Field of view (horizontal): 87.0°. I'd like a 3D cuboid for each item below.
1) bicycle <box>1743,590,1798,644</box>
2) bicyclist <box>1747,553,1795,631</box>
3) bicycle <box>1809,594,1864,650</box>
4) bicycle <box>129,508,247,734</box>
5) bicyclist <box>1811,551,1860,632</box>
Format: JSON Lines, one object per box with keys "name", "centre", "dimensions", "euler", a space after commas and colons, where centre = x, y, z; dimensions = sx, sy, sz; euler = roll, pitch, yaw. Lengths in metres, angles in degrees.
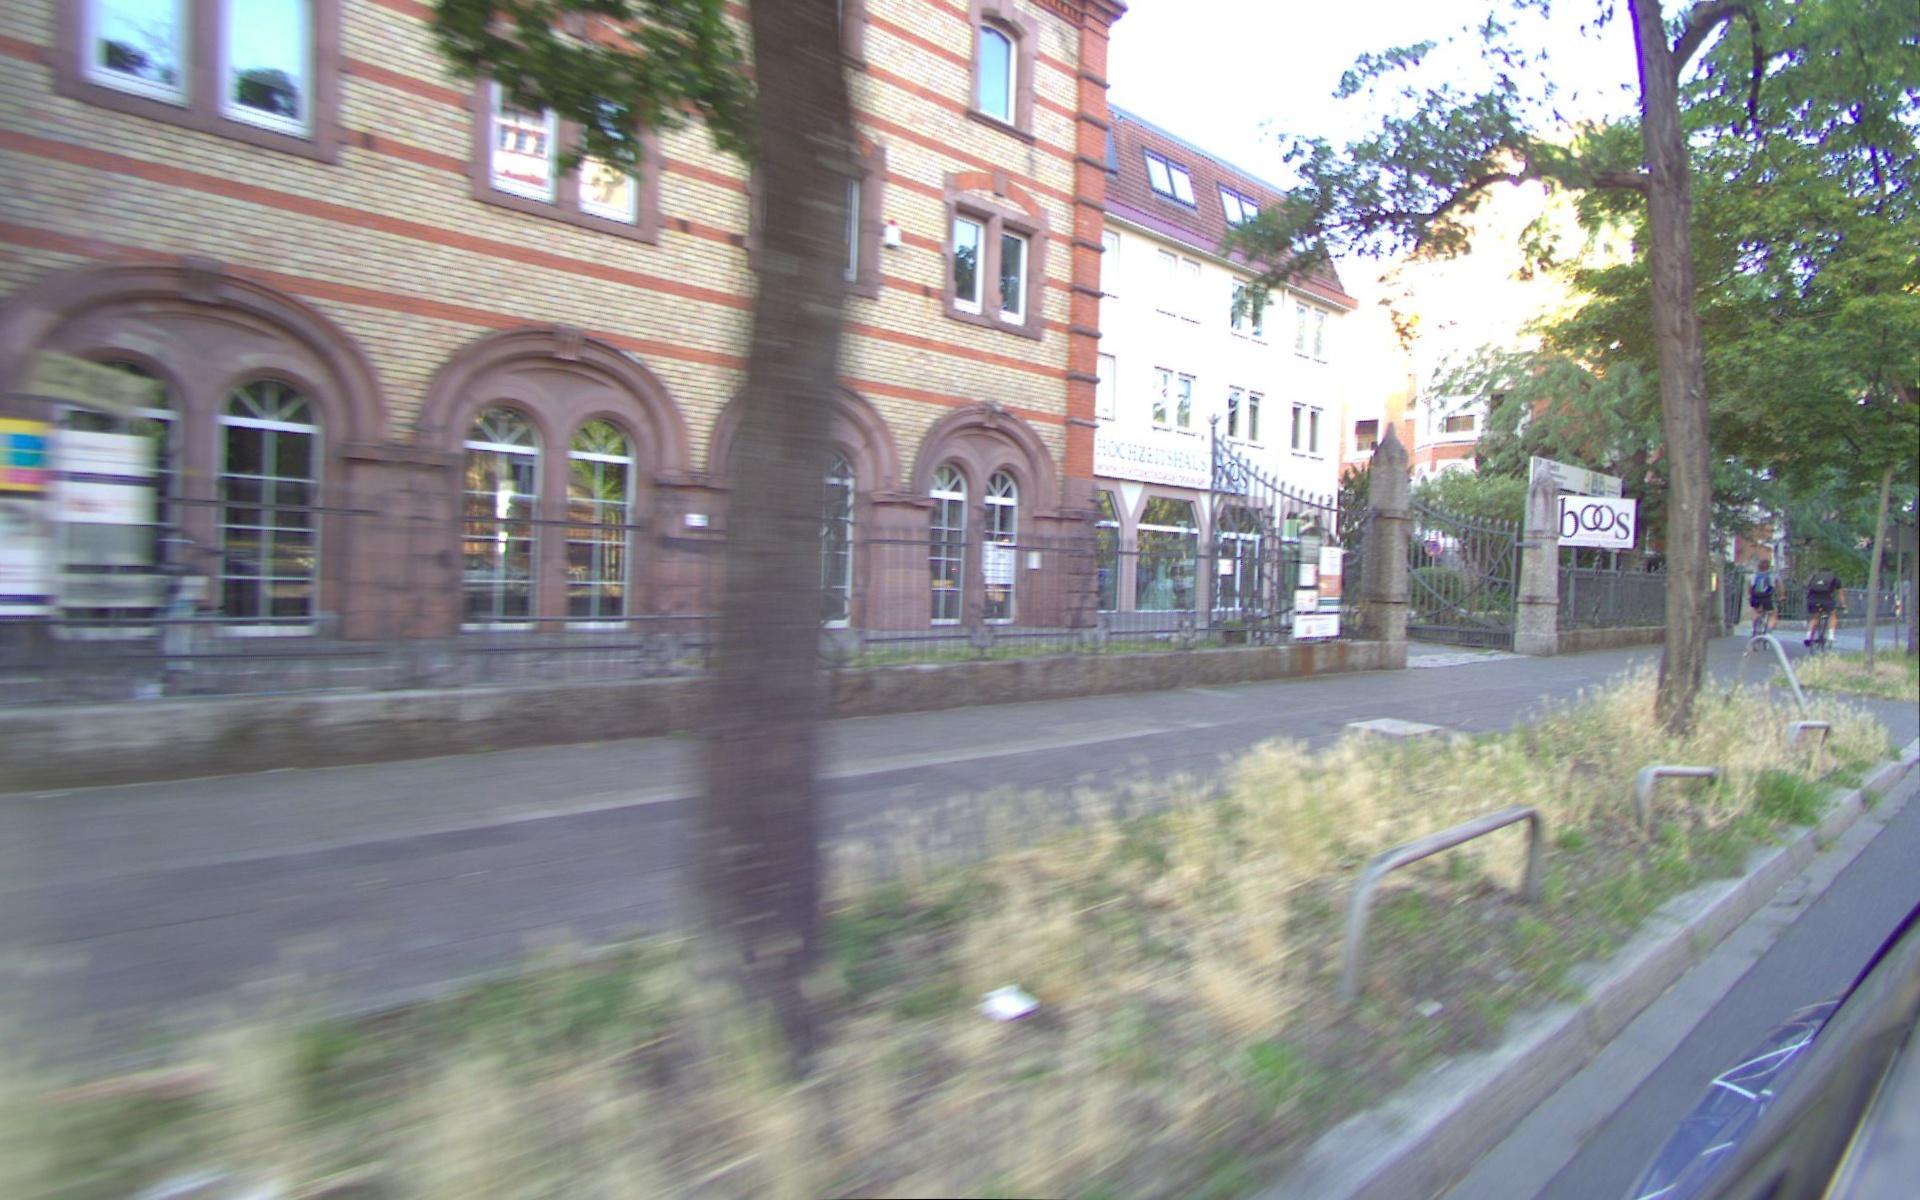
{"name": "bicycle", "centre": [16.558, 0.340, 20.662], "dimensions": [2.052, 1.053, 0.518], "euler": [0, 1, -41]}
{"name": "bicyclist", "centre": [16.530, -0.169, 20.619], "dimensions": [0.878, 1.551, 0.596], "euler": [1, 0, -41]}
{"name": "bicycle", "centre": [17.288, 0.418, 19.947], "dimensions": [2.052, 1.053, 0.545], "euler": [0, 1, -41]}
{"name": "bicycle", "centre": [-4.602, 0.091, 6.004], "dimensions": [0.484, 1.151, 1.737], "euler": [1, 1, -39]}
{"name": "bicyclist", "centre": [17.168, -0.161, 19.851], "dimensions": [0.878, 1.551, 0.596], "euler": [1, 0, -41]}
